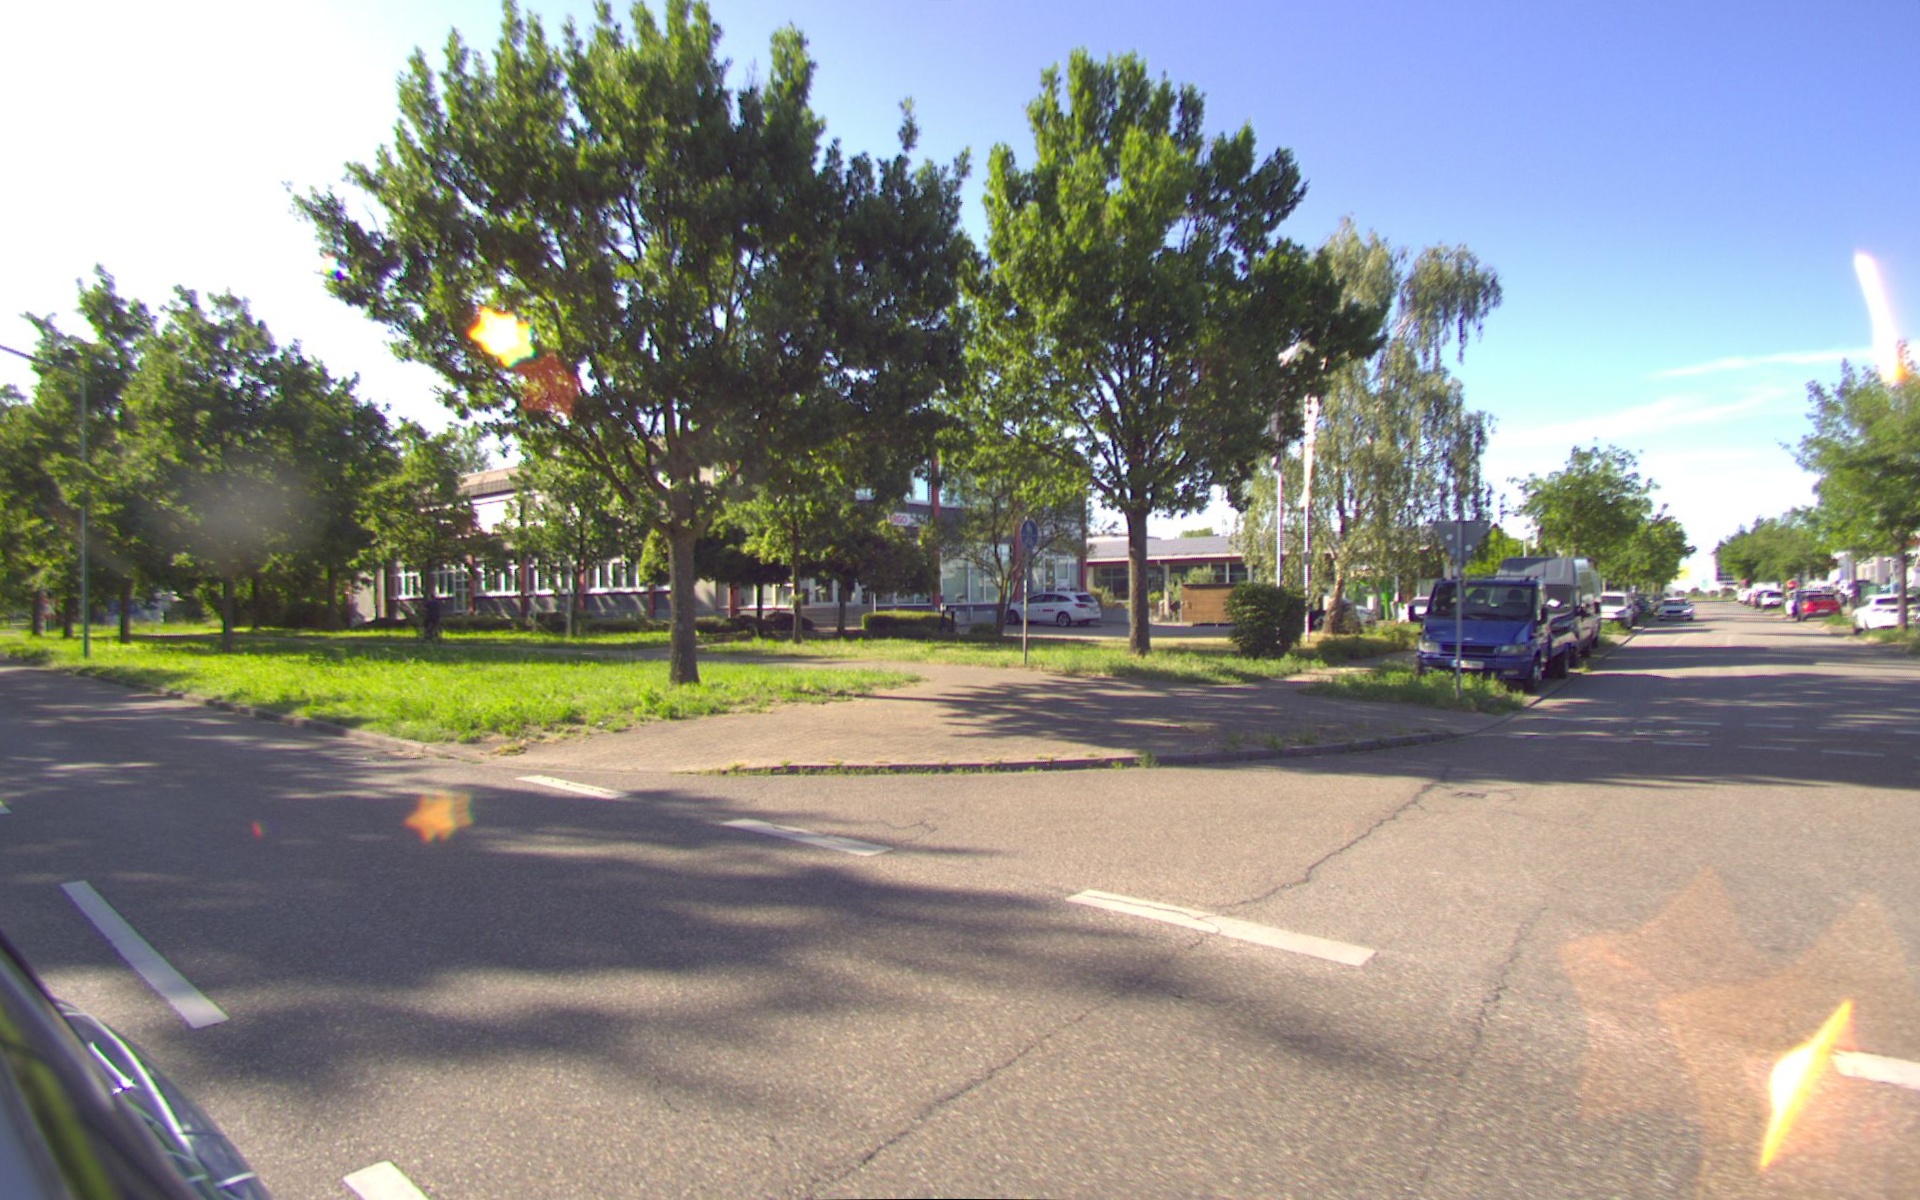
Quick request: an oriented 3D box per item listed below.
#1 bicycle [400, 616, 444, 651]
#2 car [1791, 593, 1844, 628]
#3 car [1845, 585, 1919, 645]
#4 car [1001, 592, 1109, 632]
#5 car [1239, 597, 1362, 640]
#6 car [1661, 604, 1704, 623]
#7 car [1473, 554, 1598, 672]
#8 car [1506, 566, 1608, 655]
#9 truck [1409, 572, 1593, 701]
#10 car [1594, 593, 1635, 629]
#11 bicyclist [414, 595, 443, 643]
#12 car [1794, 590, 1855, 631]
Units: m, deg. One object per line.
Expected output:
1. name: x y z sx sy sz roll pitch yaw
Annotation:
1. bicycle: -18.927 1.150 35.571 2.333 1.170 0.545 0 1 42
2. car: 57.397 0.663 67.823 2.200 2.120 4.886 -1 1 35
3. car: 36.808 0.525 39.875 2.296 2.120 5.298 -1 1 35
4. car: 4.090 0.480 43.896 4.293 1.505 1.975 1 3 38
5. car: 13.751 0.716 40.963 4.293 1.505 1.975 1 3 38
6. car: 45.614 0.855 63.884 3.724 1.114 1.621 -1 0 -45
7. car: 15.176 0.219 26.500 2.296 2.723 5.812 -1 1 35
8. car: 19.151 0.238 32.300 2.296 2.534 6.284 -1 1 35
9. truck: 10.933 0.527 20.080 2.138 2.065 7.045 -1 1 37
10. car: 30.075 0.473 46.509 1.506 1.585 3.108 -1 0 33
11. bicyclist: -18.508 0.664 35.264 0.658 1.641 0.657 -1 1 41
12. car: 49.950 0.575 58.558 2.200 2.120 4.886 -1 1 35
